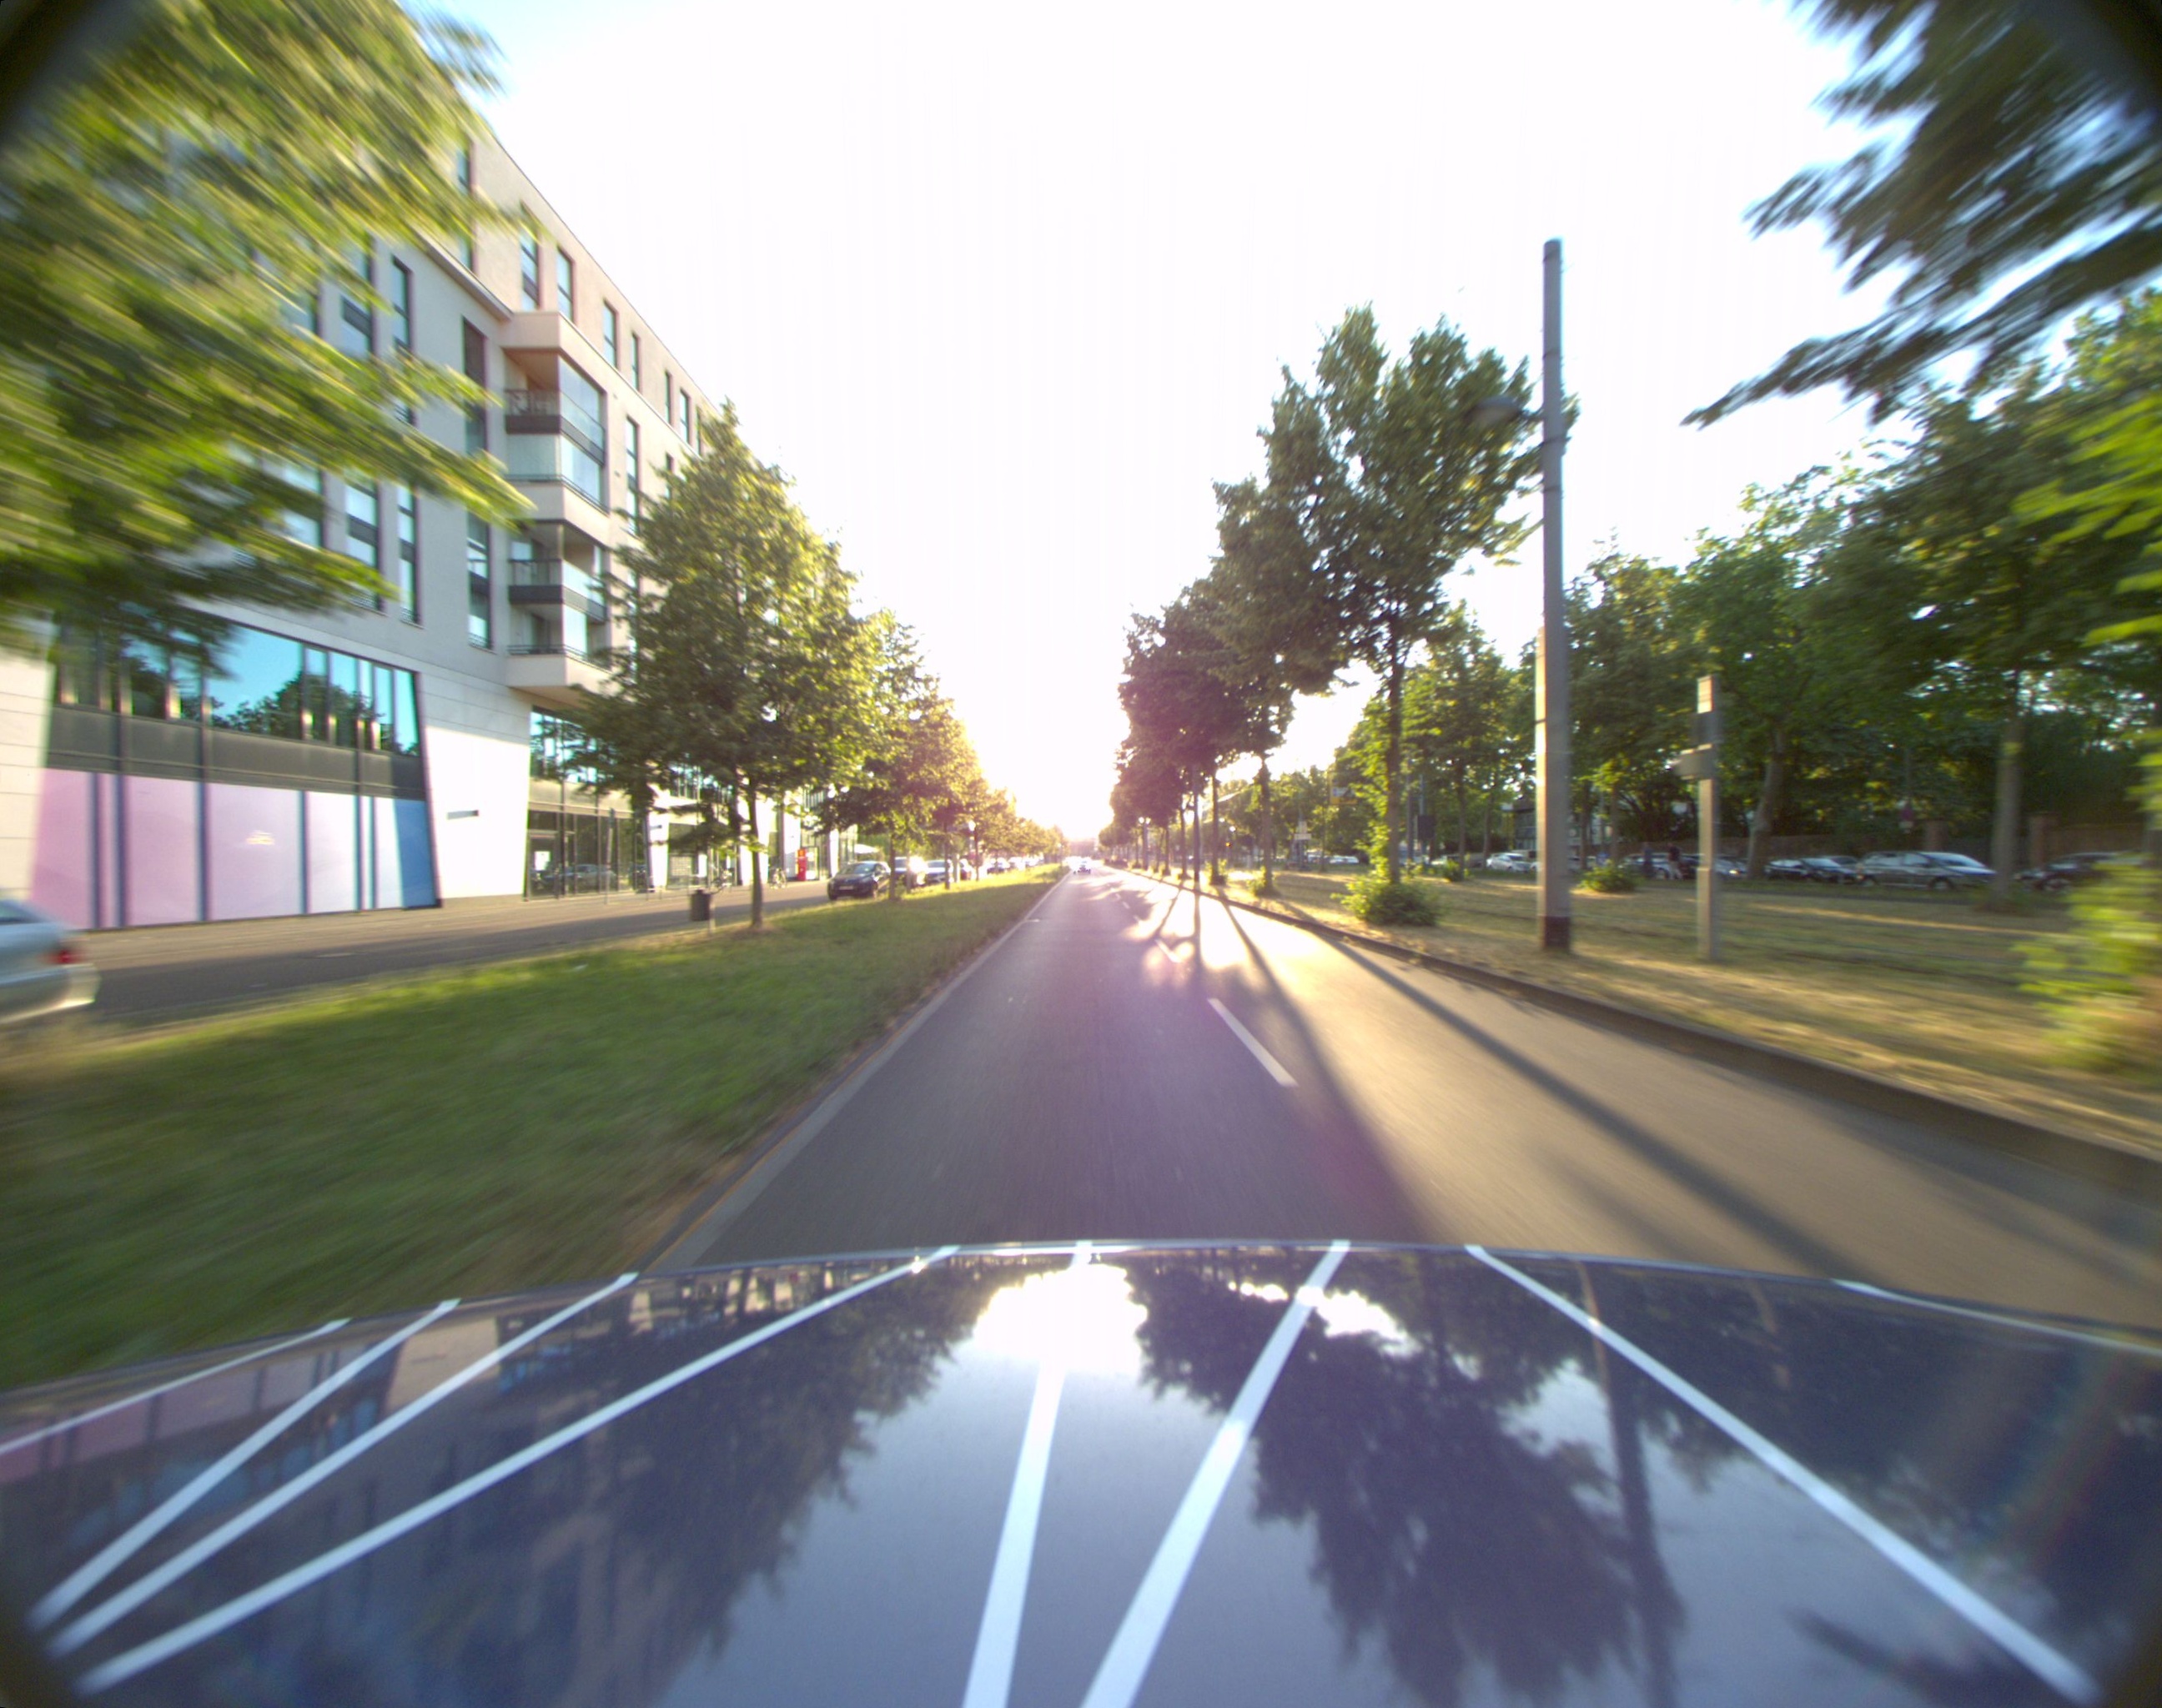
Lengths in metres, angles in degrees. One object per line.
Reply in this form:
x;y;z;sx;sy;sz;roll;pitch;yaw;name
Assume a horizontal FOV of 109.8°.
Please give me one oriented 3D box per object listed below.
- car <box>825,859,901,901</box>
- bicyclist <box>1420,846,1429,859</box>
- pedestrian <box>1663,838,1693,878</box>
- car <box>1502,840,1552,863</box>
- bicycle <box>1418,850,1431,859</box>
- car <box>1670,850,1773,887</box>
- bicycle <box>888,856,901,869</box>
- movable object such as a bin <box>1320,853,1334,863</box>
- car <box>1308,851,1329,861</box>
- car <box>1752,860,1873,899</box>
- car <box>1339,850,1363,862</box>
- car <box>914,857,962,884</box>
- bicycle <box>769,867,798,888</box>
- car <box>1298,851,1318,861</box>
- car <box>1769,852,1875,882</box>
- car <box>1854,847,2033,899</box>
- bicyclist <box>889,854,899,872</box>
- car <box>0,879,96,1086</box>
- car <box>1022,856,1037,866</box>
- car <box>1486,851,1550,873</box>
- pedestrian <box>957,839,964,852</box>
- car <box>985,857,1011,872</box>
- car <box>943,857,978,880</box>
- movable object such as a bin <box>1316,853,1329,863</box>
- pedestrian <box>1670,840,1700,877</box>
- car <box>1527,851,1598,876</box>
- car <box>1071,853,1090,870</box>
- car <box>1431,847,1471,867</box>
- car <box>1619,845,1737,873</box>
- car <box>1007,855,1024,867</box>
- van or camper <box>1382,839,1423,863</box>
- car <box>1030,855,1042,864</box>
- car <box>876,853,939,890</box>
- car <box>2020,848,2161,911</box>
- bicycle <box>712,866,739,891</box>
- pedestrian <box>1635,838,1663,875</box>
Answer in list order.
-8.607;0.969;30.362;1.728;1.492;4.233;-2;0;1;car
41.439;-0.201;91.731;0.730;1.524;1.086;-1;0;6;bicyclist
27.865;0.173;35.485;0.695;1.859;0.865;-1;1;-7;pedestrian
41.989;-0.214;71.739;1.998;2.002;5.060;-1;0;4;car
41.442;0.103;91.662;0.732;1.084;2.017;-1;0;6;bicycle
32.673;0.697;38.933;1.998;1.739;4.162;-1;0;5;car
-16.453;0.739;67.021;0.544;1.111;1.913;-1;0;4;bicycle
34.994;0.572;108.104;1.556;1.364;1.724;-1;0;2;movable object such as a bin
36.145;0.308;115.851;1.998;1.440;4.001;-1;0;2;car
31.521;1.045;32.900;1.807;1.551;3.839;-1;0;6;car
34.765;0.282;97.896;1.814;1.522;4.054;-1;0;2;car
-8.390;0.931;45.057;1.926;1.492;5.009;-1;0;0;car
-15.368;1.184;39.302;0.621;1.027;2.261;-1;0;-1;bicycle
36.392;0.269;121.829;1.998;1.576;4.298;-1;0;2;car
38.985;0.670;40.103;1.997;1.477;4.002;-1;0;7;car
31.127;0.637;27.643;1.998;1.739;4.162;-1;0;5;car
-16.458;0.775;66.993;0.545;1.559;1.020;-1;0;3;bicyclist
-8.783;0.949;3.649;1.813;1.492;4.825;-1;0;0;car
-8.222;1.094;121.718;1.924;1.492;5.411;-1;0;0;car
31.184;0.528;54.350;1.998;1.490;4.557;-1;0;1;car
-16.083;-1.166;101.626;0.696;1.645;1.078;-1;0;0;pedestrian
-8.284;1.005;75.923;1.812;1.492;4.369;0;0;4;car
-8.367;0.999;52.976;1.813;1.492;3.959;-1;0;0;car
35.238;0.529;111.025;1.412;1.403;1.701;-1;0;2;movable object such as a bin
28.581;0.204;35.966;0.695;1.748;0.865;-1;1;-7;pedestrian
30.986;0.597;49.034;1.904;1.490;4.306;-1;0;1;car
-0.018;0.719;76.035;1.828;1.625;4.000;-1;0;0;car
32.073;0.263;66.003;1.997;1.630;4.002;-1;0;7;car
30.009;0.224;38.460;1.998;1.307;5.142;-1;0;1;car
-8.083;0.904;94.181;1.754;1.390;4.000;-2;0;-1;car
33.694;-0.293;79.767;2.289;2.351;5.785;-1;0;5;van or camper
-8.023;0.939;136.205;1.813;1.492;4.479;-1;0;0;car
-8.522;0.824;37.744;1.958;1.614;4.820;-3;0;0;car
31.235;0.700;22.068;1.999;1.739;4.790;-1;0;0;car
-15.713;1.089;33.640;0.534;1.053;1.611;-1;0;-5;bicycle
27.056;0.134;36.206;0.695;1.733;0.866;-1;1;-2;pedestrian
